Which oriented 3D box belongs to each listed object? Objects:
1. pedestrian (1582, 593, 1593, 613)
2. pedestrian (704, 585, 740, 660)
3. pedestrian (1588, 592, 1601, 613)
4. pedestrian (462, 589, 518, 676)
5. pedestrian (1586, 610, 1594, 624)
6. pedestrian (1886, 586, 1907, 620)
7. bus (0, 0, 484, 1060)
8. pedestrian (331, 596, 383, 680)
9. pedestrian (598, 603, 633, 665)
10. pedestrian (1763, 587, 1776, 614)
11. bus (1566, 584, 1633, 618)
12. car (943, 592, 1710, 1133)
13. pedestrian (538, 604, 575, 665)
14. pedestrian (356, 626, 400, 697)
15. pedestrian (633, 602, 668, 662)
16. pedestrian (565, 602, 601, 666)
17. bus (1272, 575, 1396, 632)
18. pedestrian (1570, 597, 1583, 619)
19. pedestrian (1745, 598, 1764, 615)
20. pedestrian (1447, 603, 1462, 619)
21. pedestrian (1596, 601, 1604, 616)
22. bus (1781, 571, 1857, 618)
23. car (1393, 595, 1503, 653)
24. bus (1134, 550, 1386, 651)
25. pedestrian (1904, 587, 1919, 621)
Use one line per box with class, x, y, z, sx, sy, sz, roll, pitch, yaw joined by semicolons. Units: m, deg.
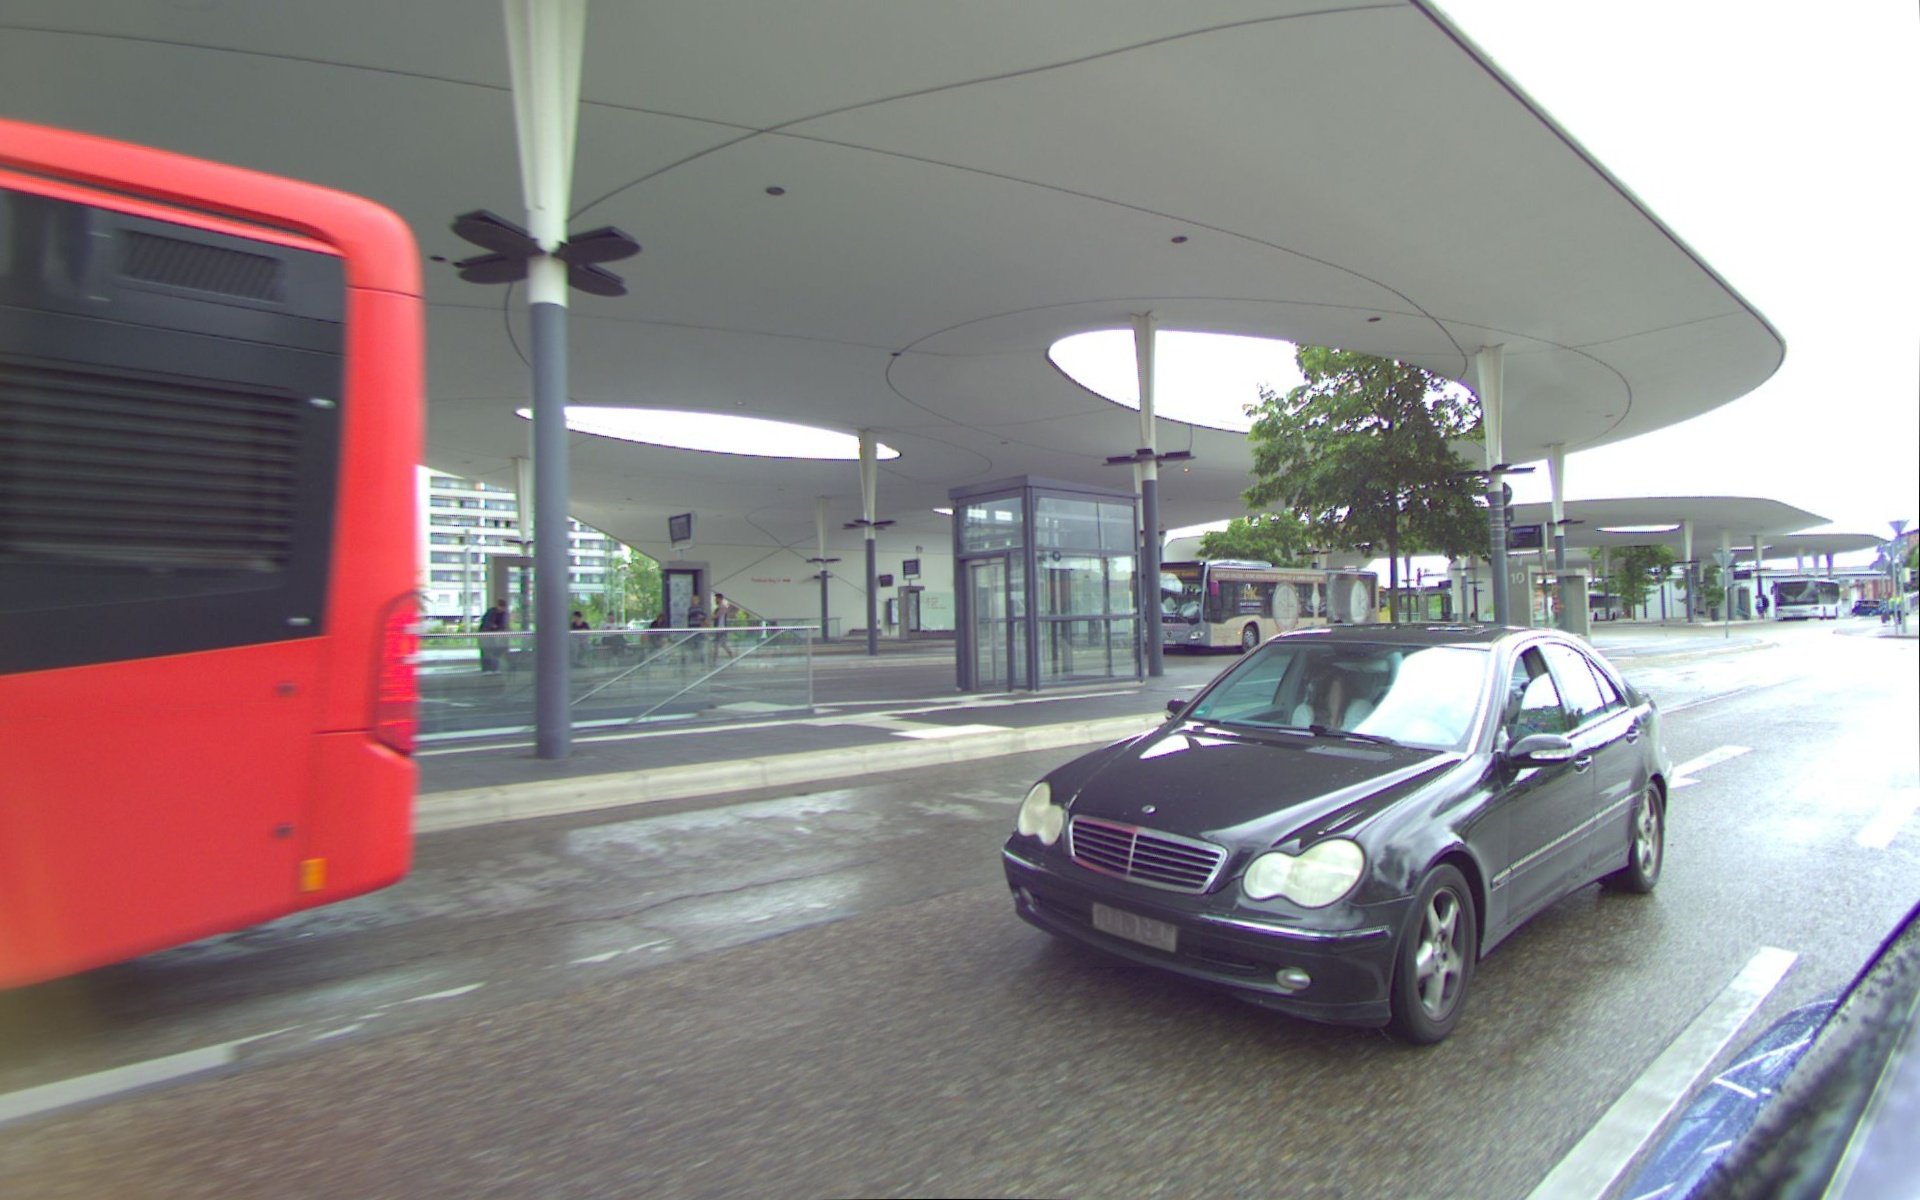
pedestrian;50.707;0.242;81.823;0.546;1.675;0.570;0;-1;-36
pedestrian;-5.527;0.532;23.498;0.559;1.714;0.604;-3;-3;42
pedestrian;51.622;0.185;82.377;0.632;1.675;0.638;-1;-1;9
pedestrian;-9.705;0.655;20.909;0.698;1.728;0.767;4;1;1
pedestrian;50.069;1.354;80.472;0.345;1.095;0.392;-1;-1;0
pedestrian;48.007;0.157;51.869;0.571;1.691;0.589;-6;0;-42
bus;-6.954;-0.265;1.708;10.687;3.334;3.292;0;0;-41
pedestrian;-11.782;0.730;19.783;0.597;1.602;0.701;-2;-3;39
pedestrian;-8.391;0.820;24.631;0.604;1.462;0.560;-1;-1;-44
pedestrian;59.646;0.044;74.555;0.636;1.911;0.587;2;-1;-31
bus;67.156;0.053;106.160;11.934;3.299;2.791;-1;-1;-42
car;2.067;0.770;4.855;4.229;1.481;1.700;2;-1;-43
pedestrian;-9.404;0.800;23.576;0.604;1.378;0.560;-1;-1;-44
pedestrian;-12.144;1.274;21.118;0.550;1.408;0.475;-6;-2;-6
pedestrian;-7.648;0.782;25.035;0.625;1.462;0.560;-1;-1;-45
pedestrian;-8.938;0.799;23.981;0.604;1.462;0.560;-1;-1;-44
bus;25.550;0.154;68.618;11.941;3.298;2.790;-3;0;-44
pedestrian;48.087;0.632;78.899;0.588;1.609;0.667;-7;-2;44
pedestrian;58.663;0.491;74.747;0.943;1.271;0.643;1;-1;25
pedestrian;42.448;0.940;86.871;0.786;1.341;0.711;-5;-2;-34
pedestrian;51.026;0.679;80.689;0.357;1.160;0.396;-1;-1;0
bus;67.260;-0.442;79.088;12.212;3.403;2.849;0;2;-42
car;13.236;0.635;27.398;3.183;1.472;1.648;0;-2;-43
bus;10.980;-0.025;35.808;11.880;3.082;2.725;0;0;-42
pedestrian;48.434;0.205;51.417;0.571;1.691;0.523;-4;0;-42
